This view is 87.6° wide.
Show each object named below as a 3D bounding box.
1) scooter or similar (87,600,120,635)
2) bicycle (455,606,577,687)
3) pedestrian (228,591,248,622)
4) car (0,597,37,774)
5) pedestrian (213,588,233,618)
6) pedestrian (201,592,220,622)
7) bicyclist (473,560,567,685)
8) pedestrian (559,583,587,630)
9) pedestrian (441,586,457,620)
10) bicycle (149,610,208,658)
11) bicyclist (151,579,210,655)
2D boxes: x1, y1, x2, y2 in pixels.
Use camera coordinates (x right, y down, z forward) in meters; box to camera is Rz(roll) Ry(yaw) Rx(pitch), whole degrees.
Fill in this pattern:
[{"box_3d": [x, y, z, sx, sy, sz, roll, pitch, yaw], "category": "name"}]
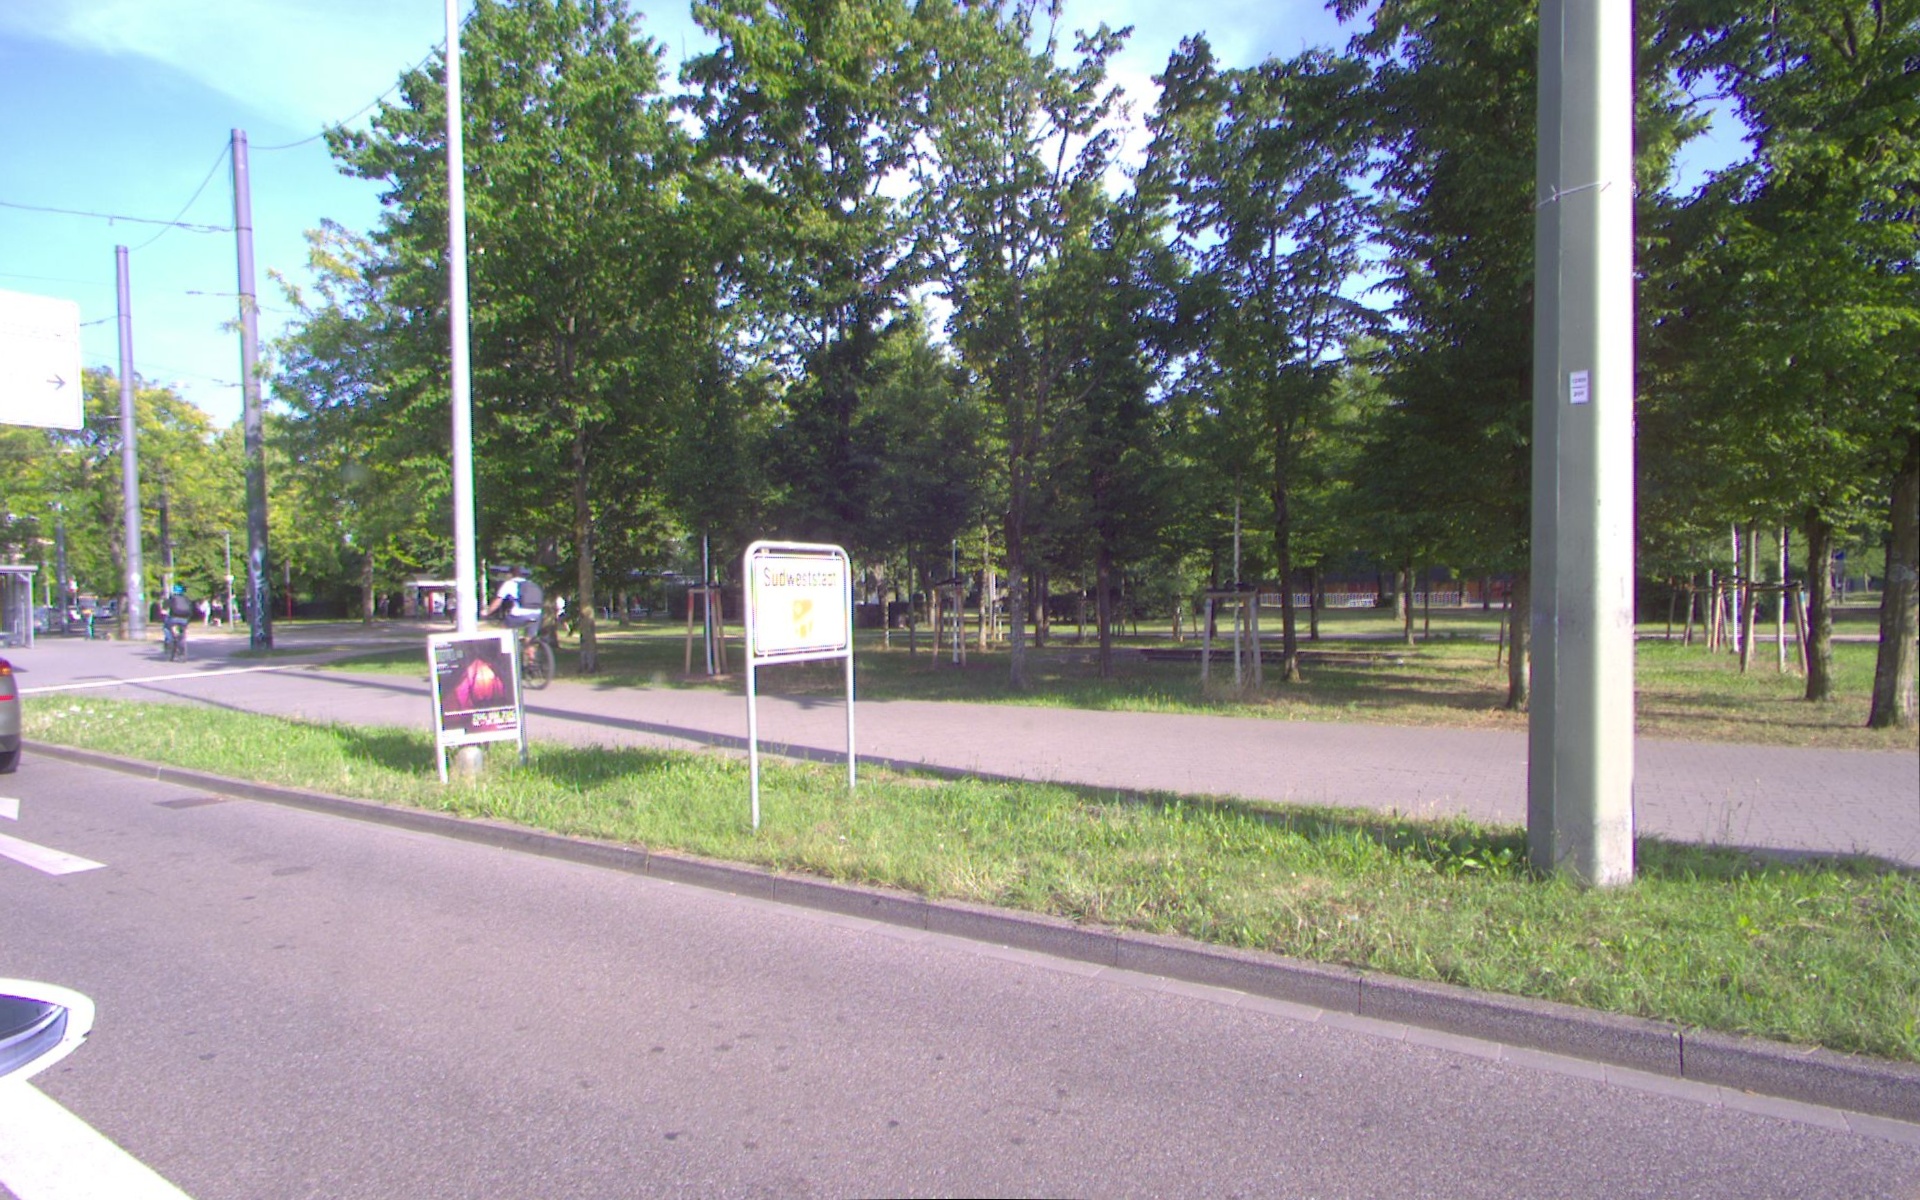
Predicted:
[{"box_3d": [-31.424, 0.638, 36.745, 1.115, 1.248, 0.351, 0, 1, 18], "category": "scooter or similar"}, {"box_3d": [-6.615, 0.666, 14.879, 1.912, 1.103, 0.639, -1, 3, 32], "category": "bicycle"}, {"box_3d": [-39.787, 0.354, 55.167, 0.681, 1.688, 0.639, 0, 1, 32], "category": "pedestrian"}, {"box_3d": [-10.714, 0.787, 9.614, 3.760, 1.621, 1.832, -1, -1, 32], "category": "car"}, {"box_3d": [-40.901, 0.172, 55.569, 0.681, 1.688, 0.639, 0, 1, 32], "category": "pedestrian"}, {"box_3d": [-41.751, 0.376, 55.785, 0.681, 1.632, 0.639, 0, 1, 32], "category": "pedestrian"}, {"box_3d": [-6.500, 0.321, 14.795, 1.123, 1.770, 0.647, -1, 4, 31], "category": "bicyclist"}, {"box_3d": [-15.886, 0.284, 41.103, 0.868, 1.922, 0.670, 0, -1, 33], "category": "pedestrian"}, {"box_3d": [-27.928, 0.167, 54.707, 0.594, 1.891, 0.462, 0, -1, 3], "category": "pedestrian"}, {"box_3d": [-19.129, 0.827, 24.511, 1.711, 1.103, 0.638, 0, 3, 36], "category": "bicycle"}, {"box_3d": [-18.902, 0.399, 24.274, 1.125, 1.770, 0.717, 0, 4, 36], "category": "bicyclist"}]
